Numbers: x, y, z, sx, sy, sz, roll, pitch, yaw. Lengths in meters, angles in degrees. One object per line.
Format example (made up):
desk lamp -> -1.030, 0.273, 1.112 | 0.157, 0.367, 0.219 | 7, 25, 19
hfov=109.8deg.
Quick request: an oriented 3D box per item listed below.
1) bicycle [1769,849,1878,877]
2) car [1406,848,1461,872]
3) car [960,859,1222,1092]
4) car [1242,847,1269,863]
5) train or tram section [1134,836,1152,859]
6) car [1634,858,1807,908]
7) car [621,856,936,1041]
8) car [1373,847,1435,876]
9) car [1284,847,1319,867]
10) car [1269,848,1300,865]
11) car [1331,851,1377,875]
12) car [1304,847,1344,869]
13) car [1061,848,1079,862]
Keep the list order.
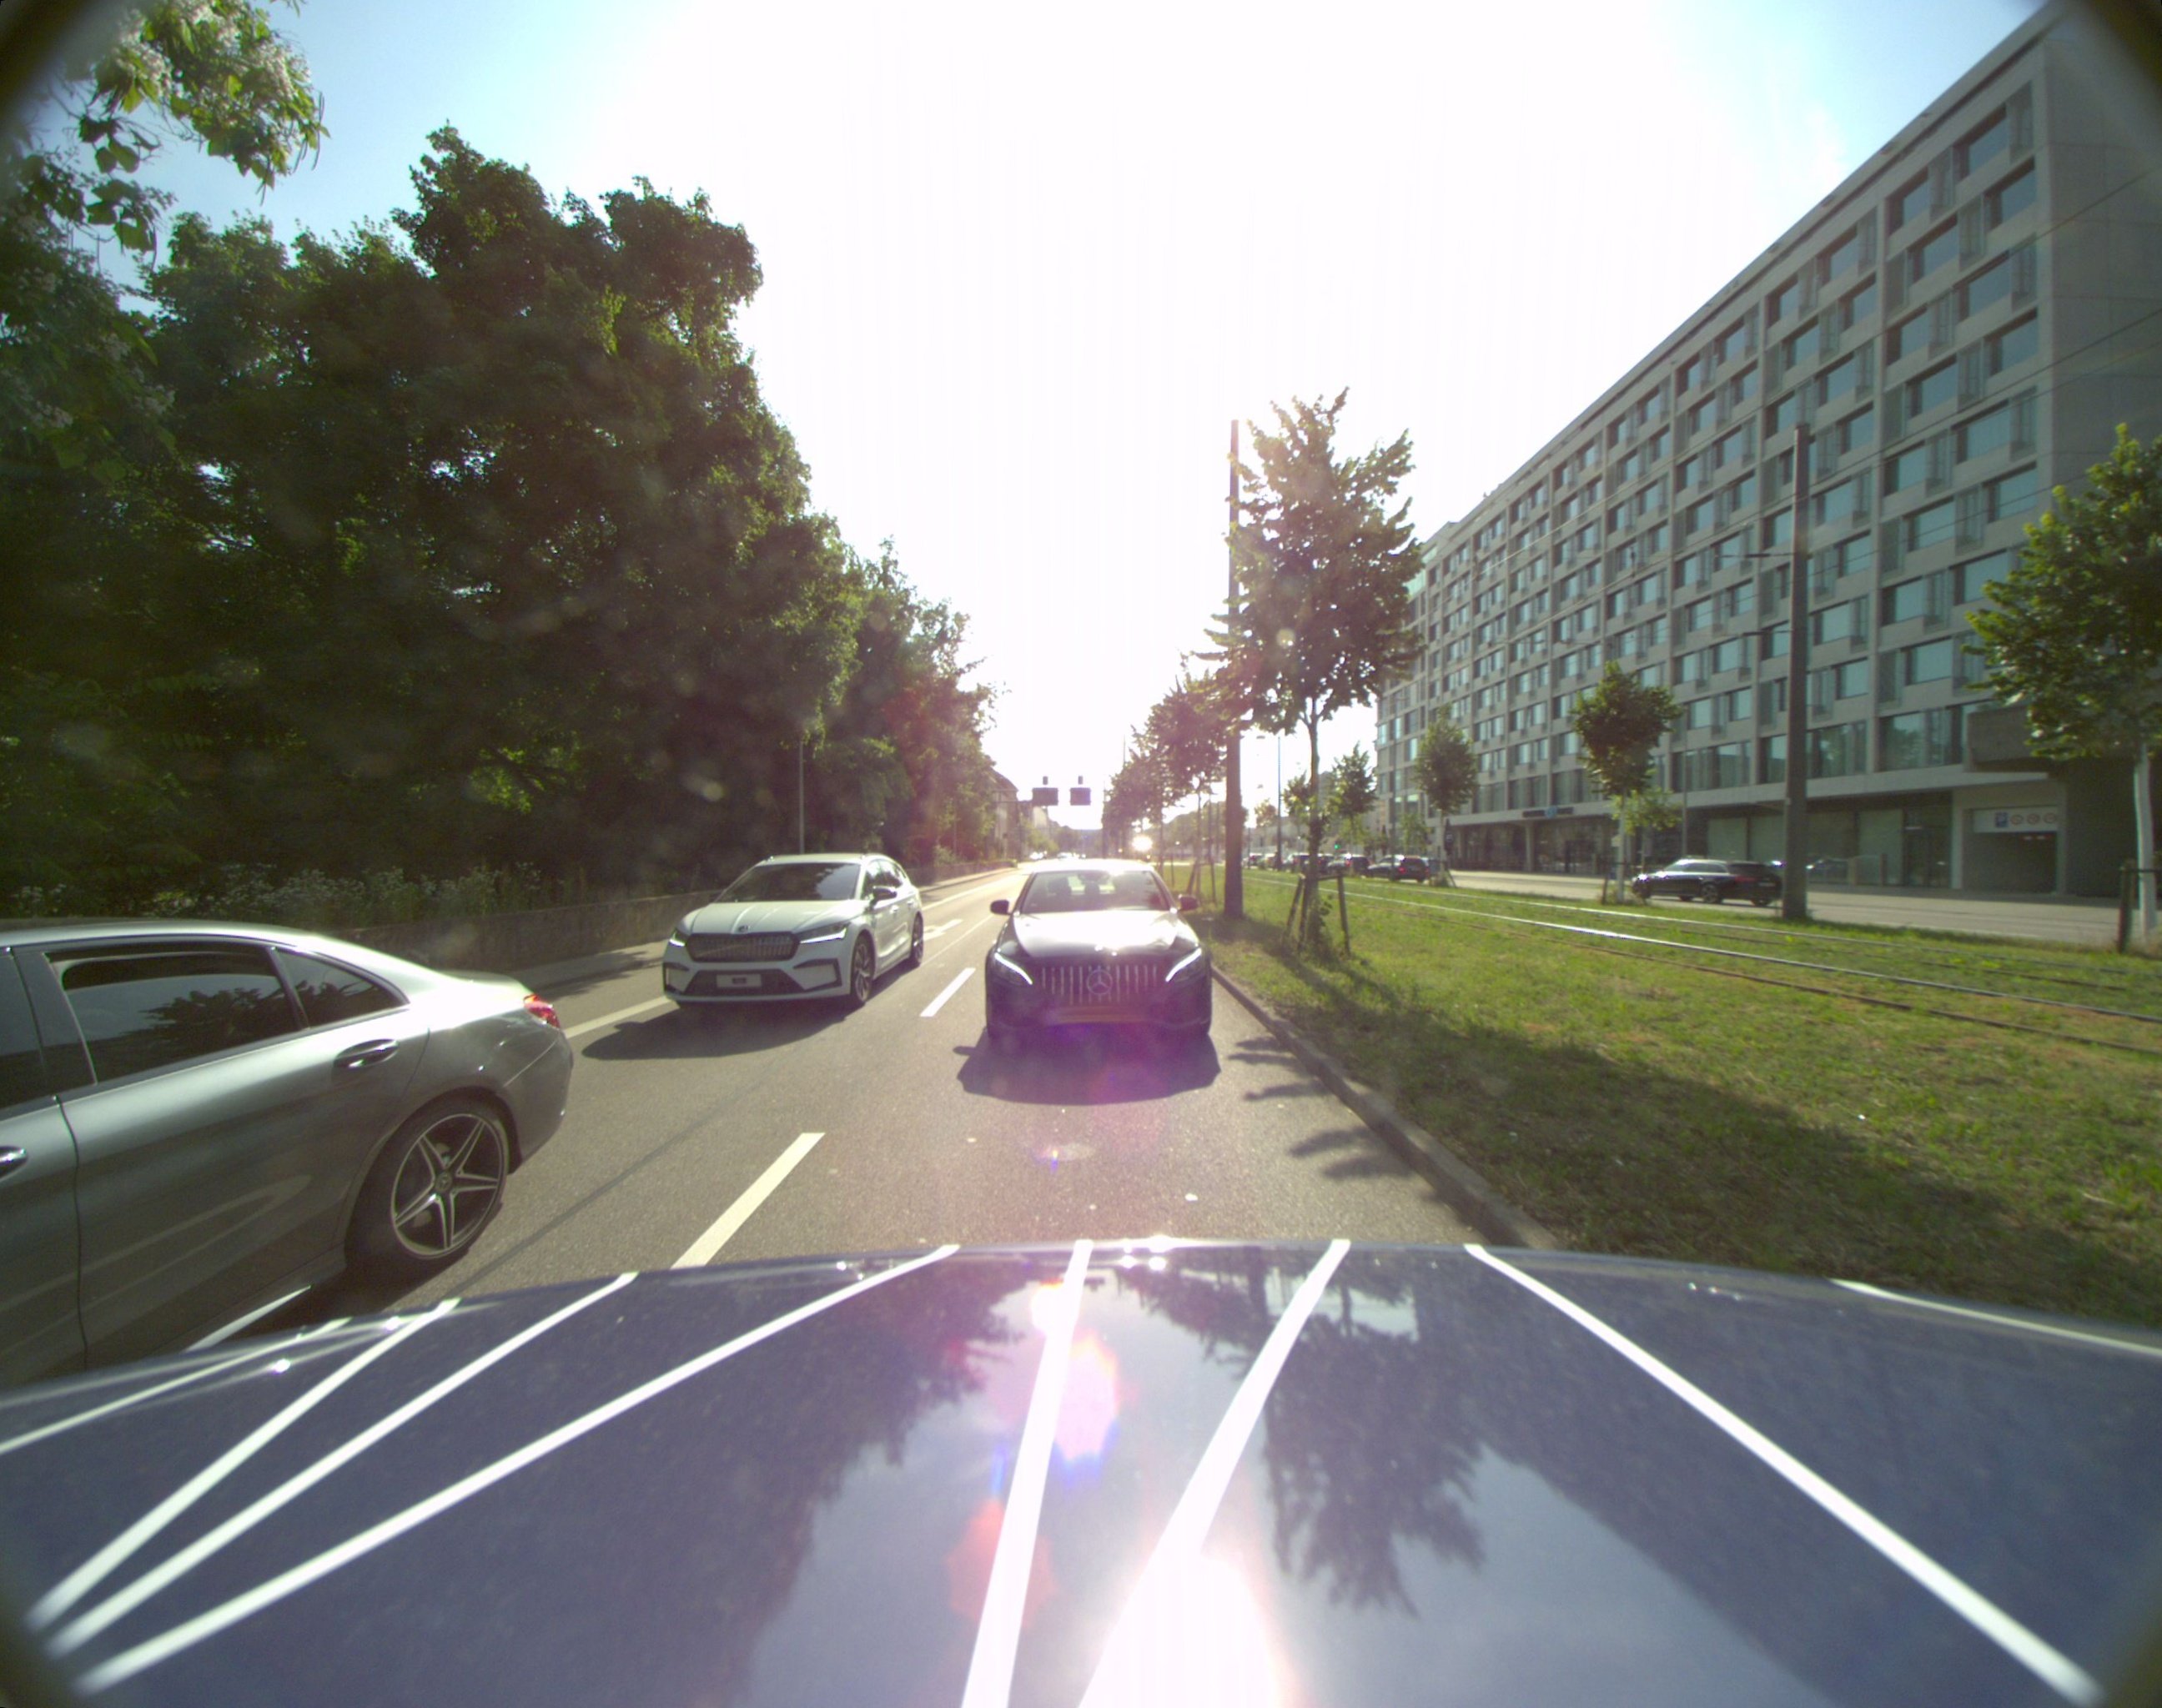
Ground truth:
bicycle -> 37.319, 0.426, 38.238 | 3.994, 1.358, 1.127 | 0, 1, 9
car -> 23.581, 0.373, 50.977 | 1.998, 1.565, 4.000 | 0, 1, 3
car -> 0.107, 0.863, 7.555 | 1.760, 1.437, 4.617 | -2, 1, 1
car -> 17.683, 0.077, 77.112 | 1.787, 1.516, 4.000 | 0, 1, 1
train or tram section -> 9.647, -1.036, 119.095 | 2.500, 3.409, 6.669 | 0, 1, 1
car -> 21.237, 0.896, 25.529 | 1.999, 1.482, 4.418 | 0, 1, -1
car -> -3.105, 0.853, 8.911 | 1.897, 1.561, 4.250 | -1, 1, 1
car -> 17.298, 0.364, 40.919 | 1.812, 1.472, 4.000 | 0, 1, 3
car -> 17.481, 0.192, 60.326 | 1.812, 1.565, 4.000 | 0, 1, 3
car -> 17.858, 0.219, 66.682 | 1.812, 1.466, 4.000 | 0, 1, 3
car -> 17.377, 0.549, 48.469 | 1.745, 1.478, 3.641 | 0, 1, 3
car -> 17.495, 0.271, 54.849 | 1.812, 1.565, 4.000 | 0, 1, 3
car -> -1.262, 0.111, 90.475 | 1.998, 1.630, 3.999 | 0, 1, 0
